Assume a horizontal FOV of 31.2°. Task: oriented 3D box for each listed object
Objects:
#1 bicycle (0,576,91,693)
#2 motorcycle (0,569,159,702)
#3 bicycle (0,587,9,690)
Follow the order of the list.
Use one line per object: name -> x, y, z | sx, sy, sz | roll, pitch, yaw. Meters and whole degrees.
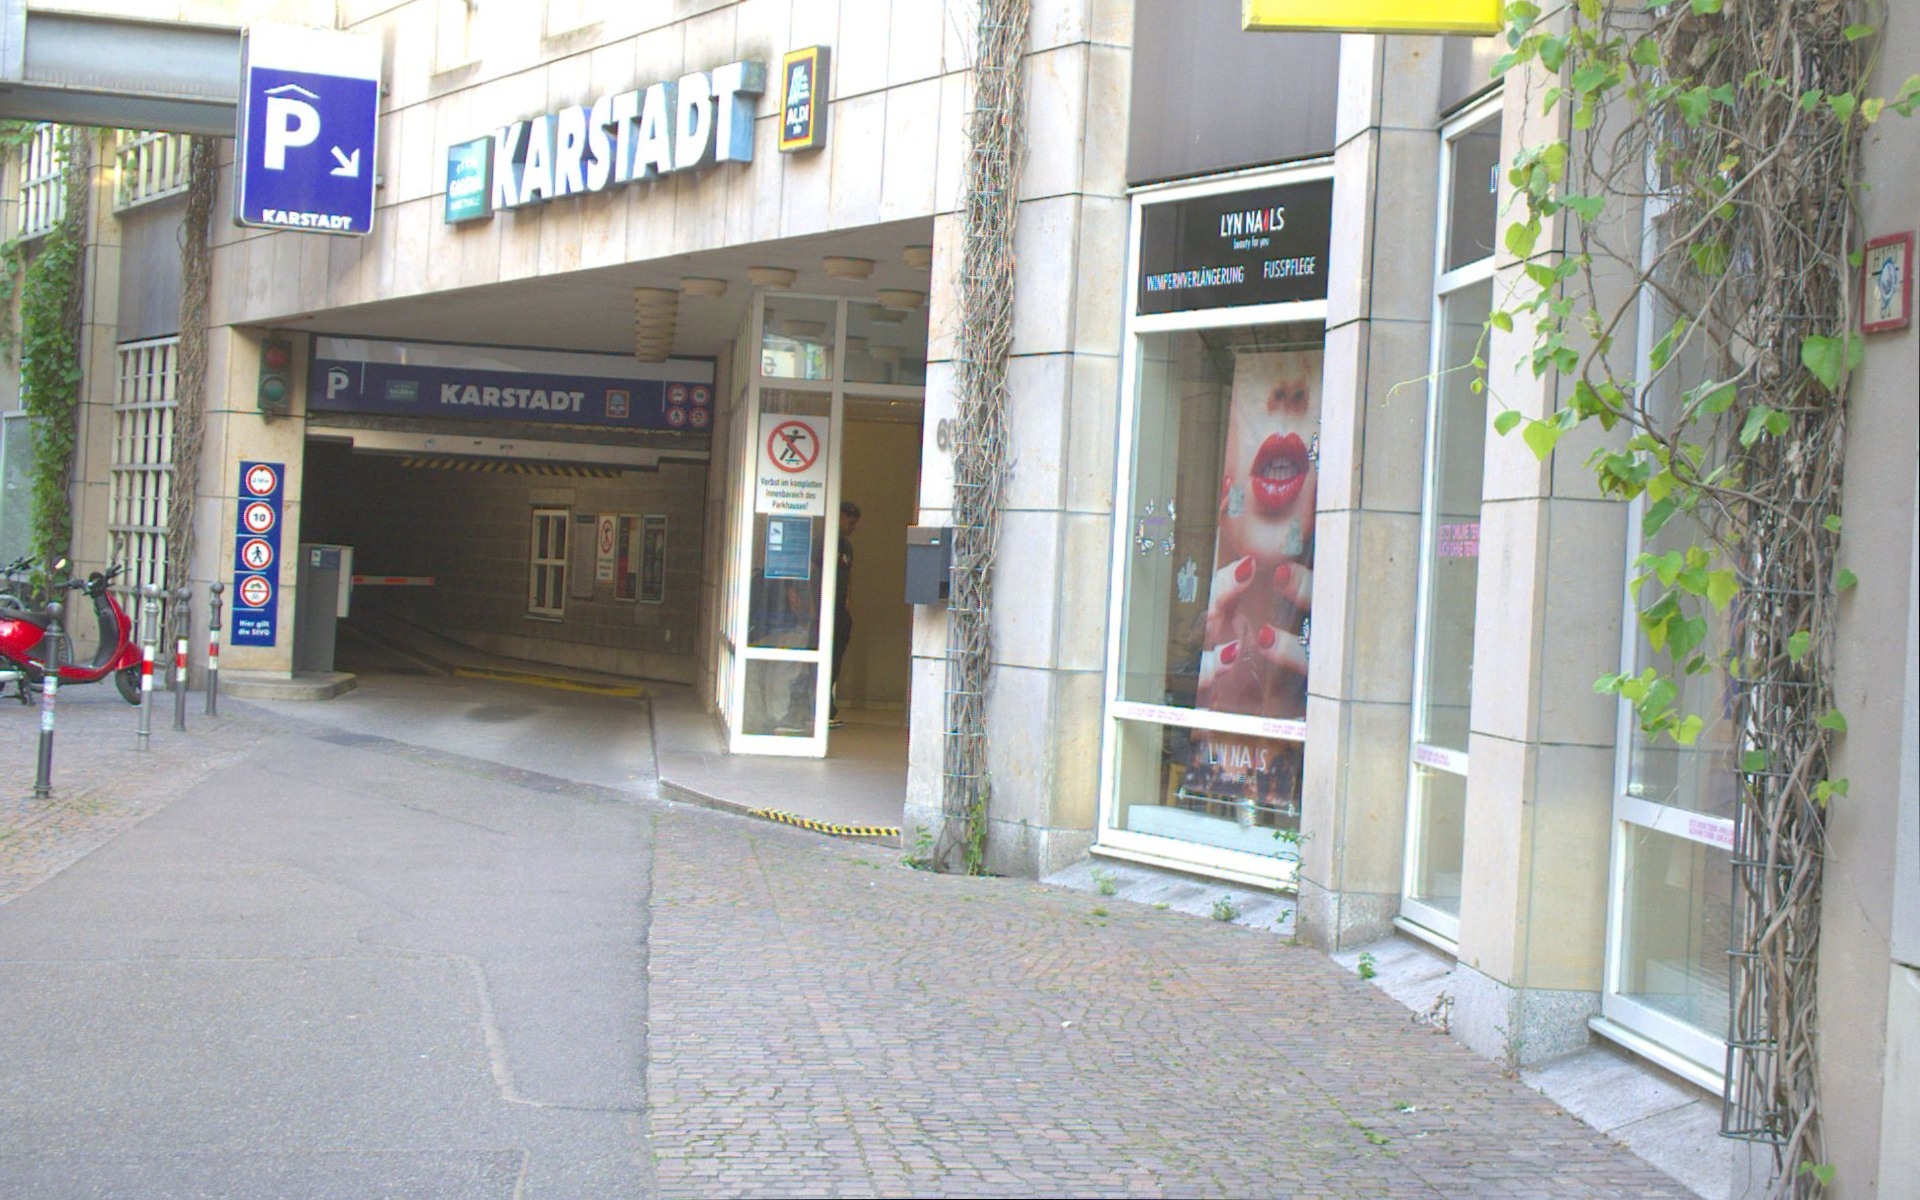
bicycle -> -8.469, 0.283, 29.555 | 1.847, 0.979, 0.464 | 2, 1, -26
motorcycle -> -7.433, 0.285, 28.020 | 1.662, 1.047, 0.464 | 2, 1, -26
bicycle -> -9.353, 0.317, 30.325 | 1.773, 0.901, 0.464 | 2, 1, -26
